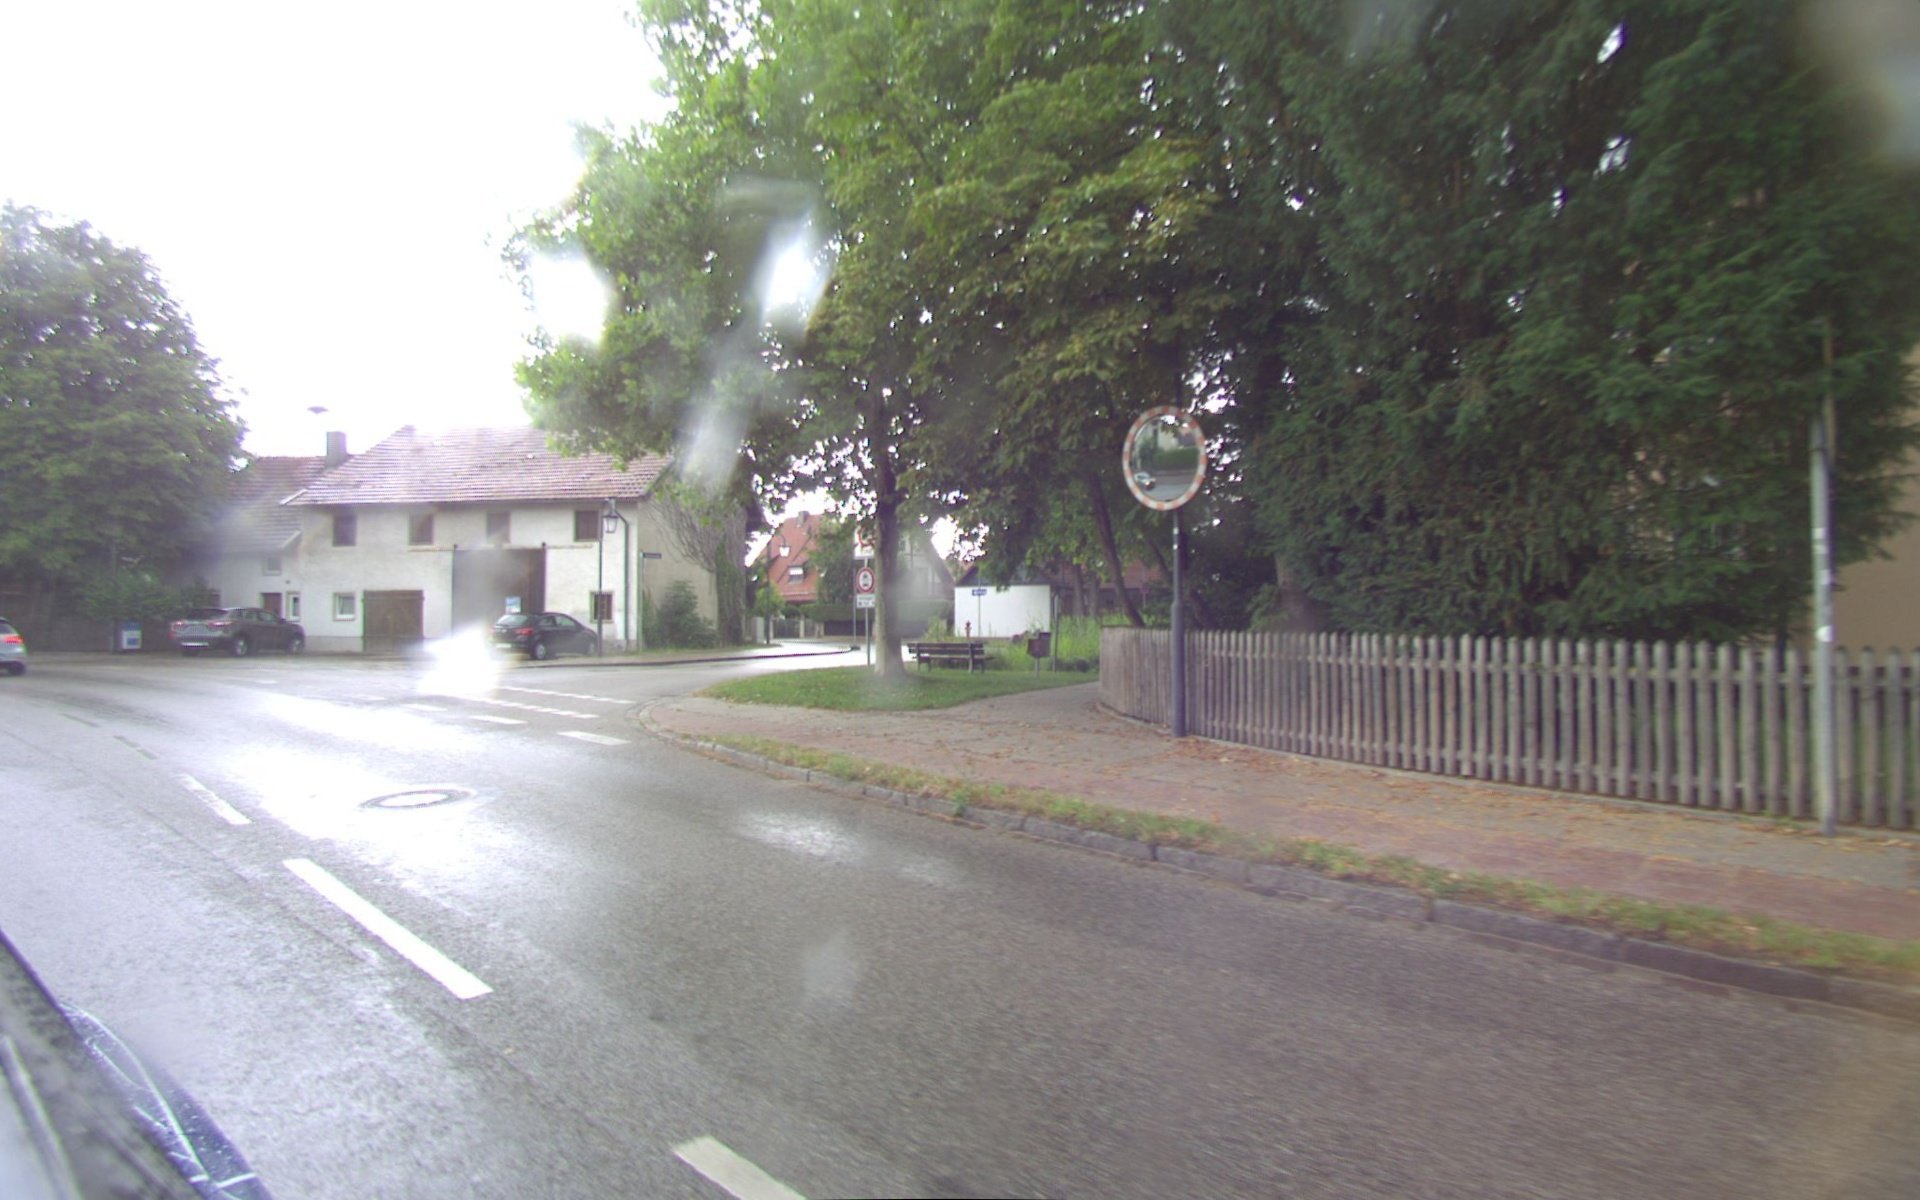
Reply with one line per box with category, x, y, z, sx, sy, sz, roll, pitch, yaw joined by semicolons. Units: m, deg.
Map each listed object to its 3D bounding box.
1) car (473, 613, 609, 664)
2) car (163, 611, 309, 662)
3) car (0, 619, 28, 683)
car;-12.859;1.145;31.370;1.802;1.447;4.263;0;-1;13
car;-23.412;1.212;32.947;1.791;1.560;4.282;0;-3;-2
car;-24.108;1.209;24.043;3.982;1.453;1.705;0;0;29
